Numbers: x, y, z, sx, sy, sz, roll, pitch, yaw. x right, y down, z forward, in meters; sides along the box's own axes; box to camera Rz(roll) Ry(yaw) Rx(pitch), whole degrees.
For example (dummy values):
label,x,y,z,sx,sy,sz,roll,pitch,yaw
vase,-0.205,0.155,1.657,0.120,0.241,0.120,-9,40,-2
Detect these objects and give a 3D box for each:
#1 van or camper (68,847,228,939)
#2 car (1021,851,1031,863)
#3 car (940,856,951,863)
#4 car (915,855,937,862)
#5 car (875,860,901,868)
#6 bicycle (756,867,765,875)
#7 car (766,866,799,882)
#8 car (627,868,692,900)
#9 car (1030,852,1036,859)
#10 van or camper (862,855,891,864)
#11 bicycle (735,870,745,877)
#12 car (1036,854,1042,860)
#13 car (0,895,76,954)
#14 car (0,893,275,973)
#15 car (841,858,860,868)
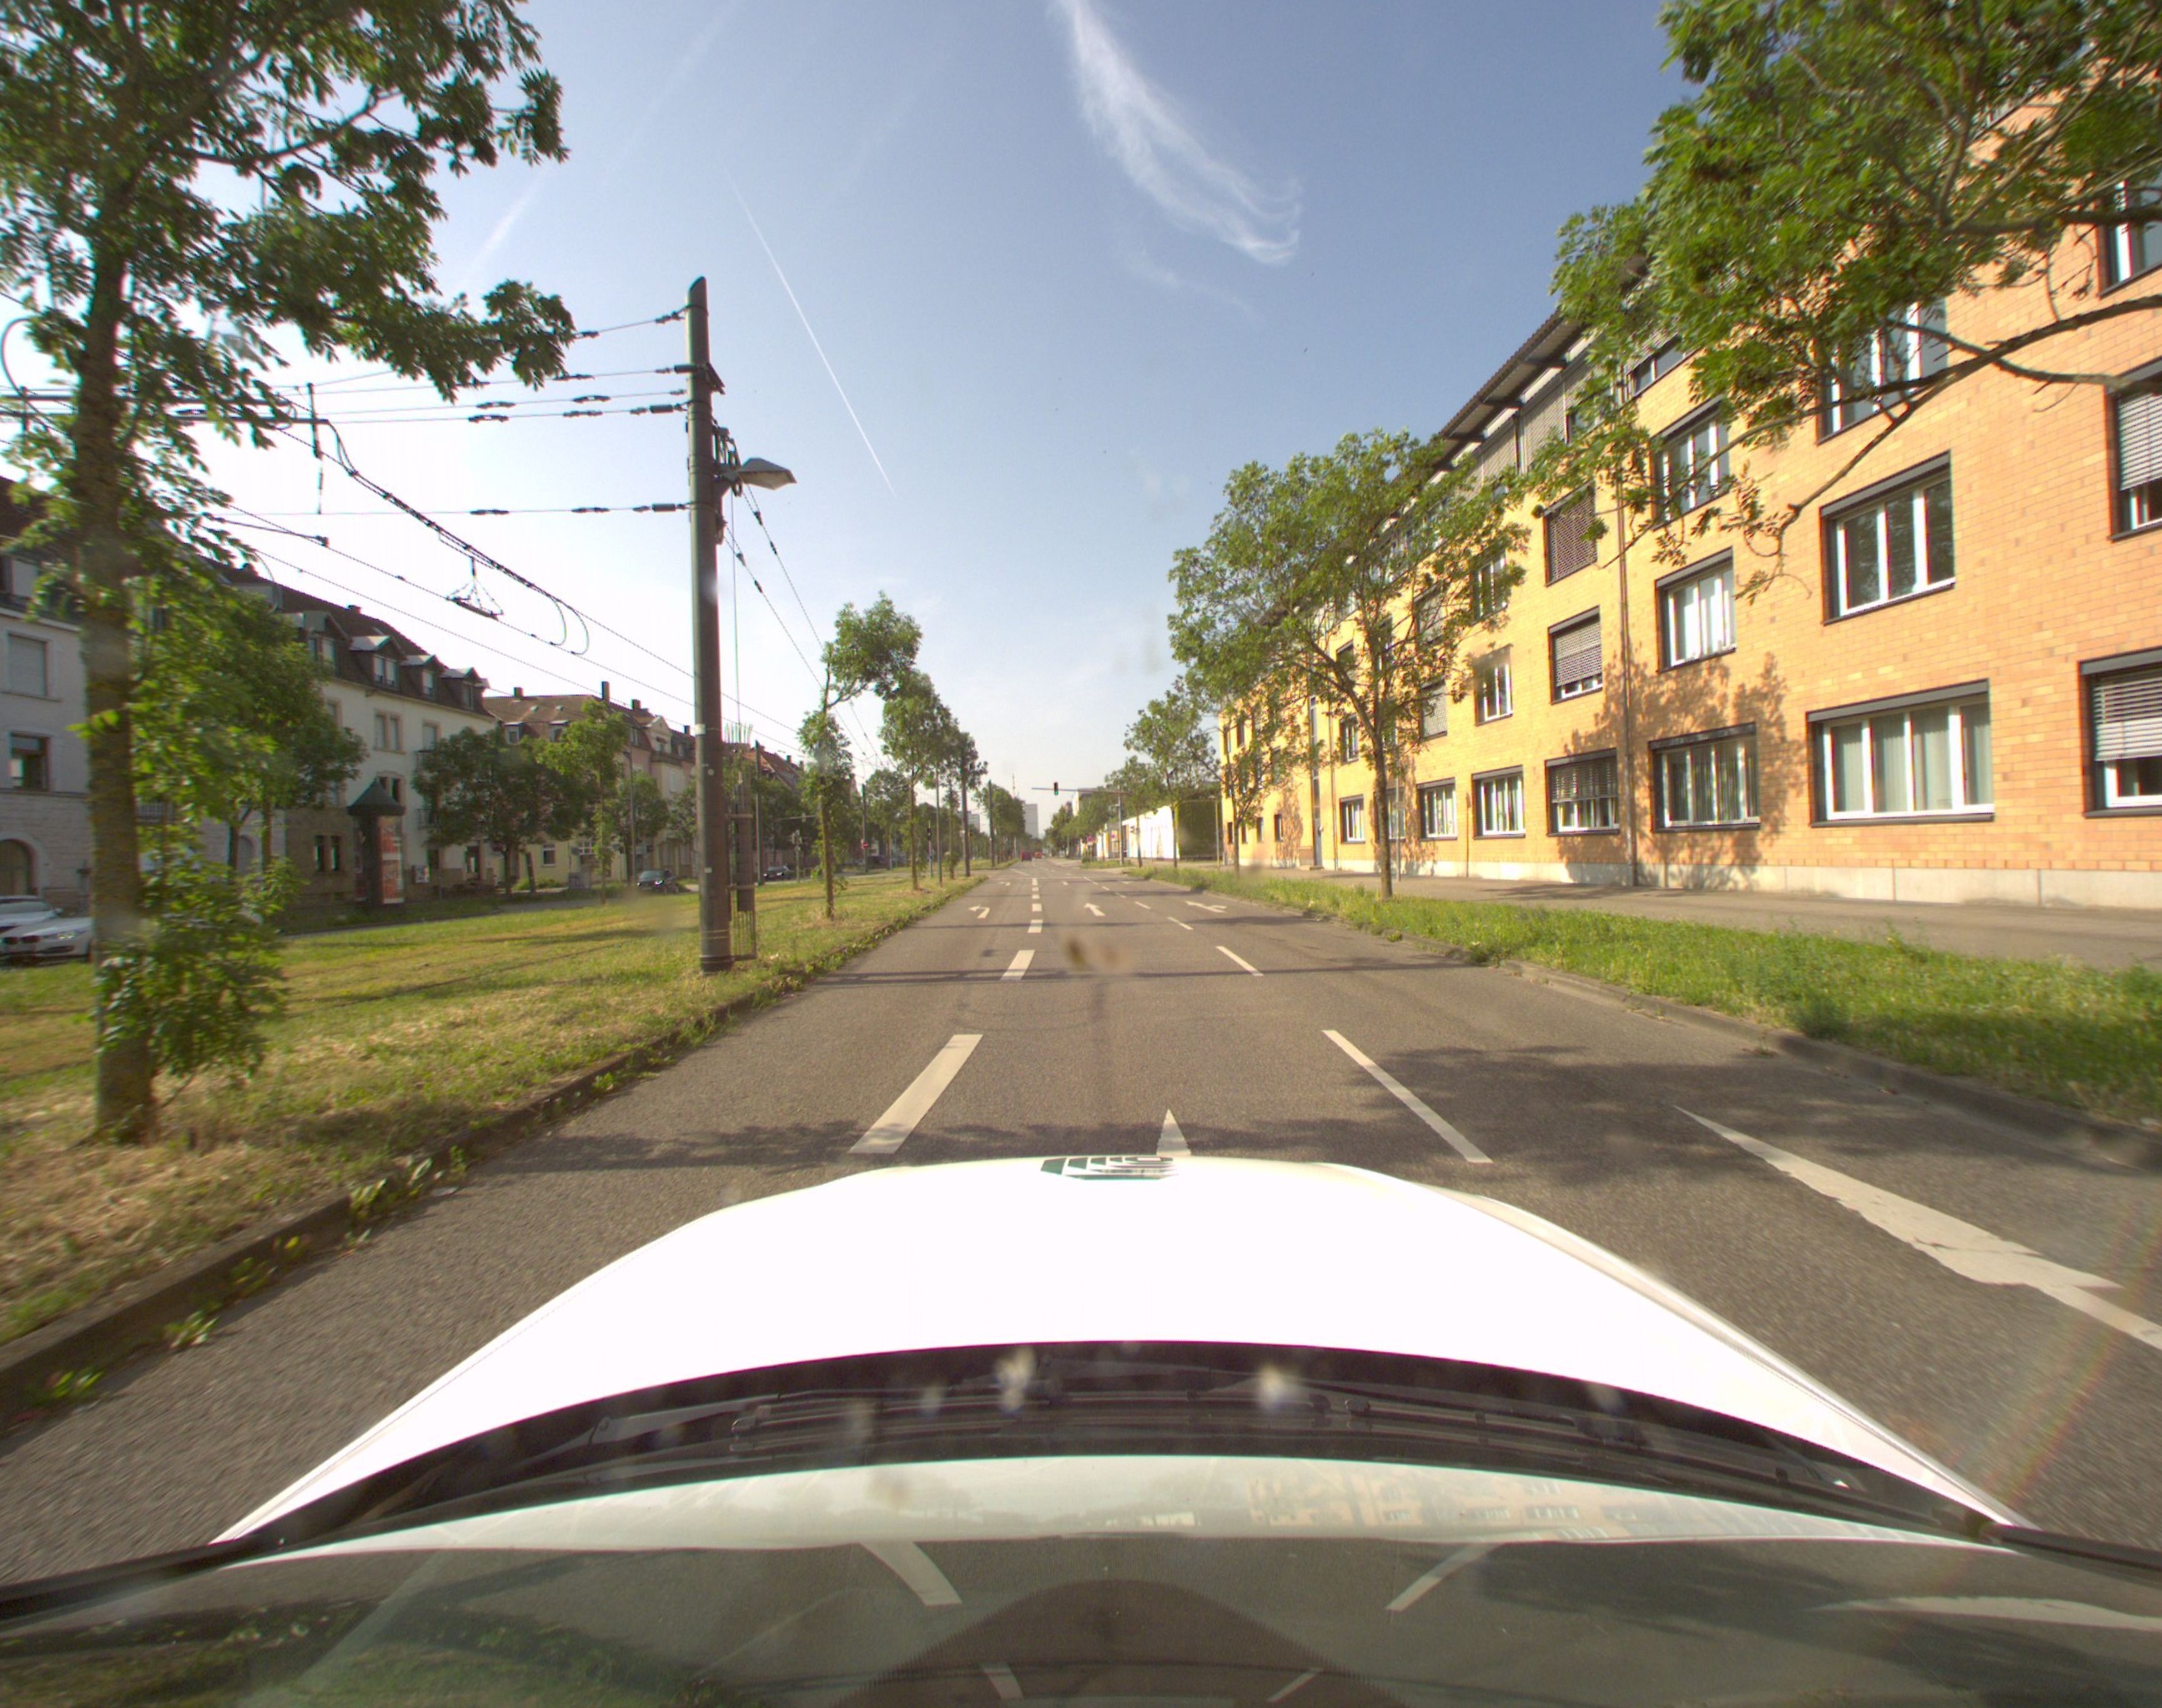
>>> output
label,x,y,z,sx,sy,sz,roll,pitch,yaw
van or camper,-28.944,1.124,25.214,5.850,2.573,2.213,-1,-1,31
car,-9.697,0.524,143.951,1.744,2.014,3.212,0,0,-3
car,-33.263,1.238,200.120,1.958,1.694,4.296,0,0,0
car,-39.003,1.095,205.153,5.259,1.738,2.012,-1,-1,30
car,-34.233,1.747,144.522,4.419,1.419,1.988,-1,-1,33
bicycle,-37.019,1.972,94.109,0.446,0.857,1.944,0,0,-5
car,-27.715,1.846,75.691,1.809,1.433,3.920,0,0,-4
car,-23.971,1.683,46.428,1.760,1.655,3.996,0,0,-3
car,-13.069,0.367,221.716,1.744,2.014,3.212,0,0,-3
van or camper,-35.331,0.934,140.847,4.789,1.623,2.015,-1,-1,29
bicycle,-36.600,2.098,87.354,0.436,0.789,1.944,0,0,-5
car,-11.715,0.843,226.503,1.744,1.650,3.212,0,0,-3
car,-28.116,1.816,21.376,3.639,1.331,1.673,-1,-1,31
car,-22.257,1.756,19.225,1.943,1.459,4.643,0,0,-3
car,-36.105,1.399,127.537,1.990,1.628,4.766,0,0,-5
